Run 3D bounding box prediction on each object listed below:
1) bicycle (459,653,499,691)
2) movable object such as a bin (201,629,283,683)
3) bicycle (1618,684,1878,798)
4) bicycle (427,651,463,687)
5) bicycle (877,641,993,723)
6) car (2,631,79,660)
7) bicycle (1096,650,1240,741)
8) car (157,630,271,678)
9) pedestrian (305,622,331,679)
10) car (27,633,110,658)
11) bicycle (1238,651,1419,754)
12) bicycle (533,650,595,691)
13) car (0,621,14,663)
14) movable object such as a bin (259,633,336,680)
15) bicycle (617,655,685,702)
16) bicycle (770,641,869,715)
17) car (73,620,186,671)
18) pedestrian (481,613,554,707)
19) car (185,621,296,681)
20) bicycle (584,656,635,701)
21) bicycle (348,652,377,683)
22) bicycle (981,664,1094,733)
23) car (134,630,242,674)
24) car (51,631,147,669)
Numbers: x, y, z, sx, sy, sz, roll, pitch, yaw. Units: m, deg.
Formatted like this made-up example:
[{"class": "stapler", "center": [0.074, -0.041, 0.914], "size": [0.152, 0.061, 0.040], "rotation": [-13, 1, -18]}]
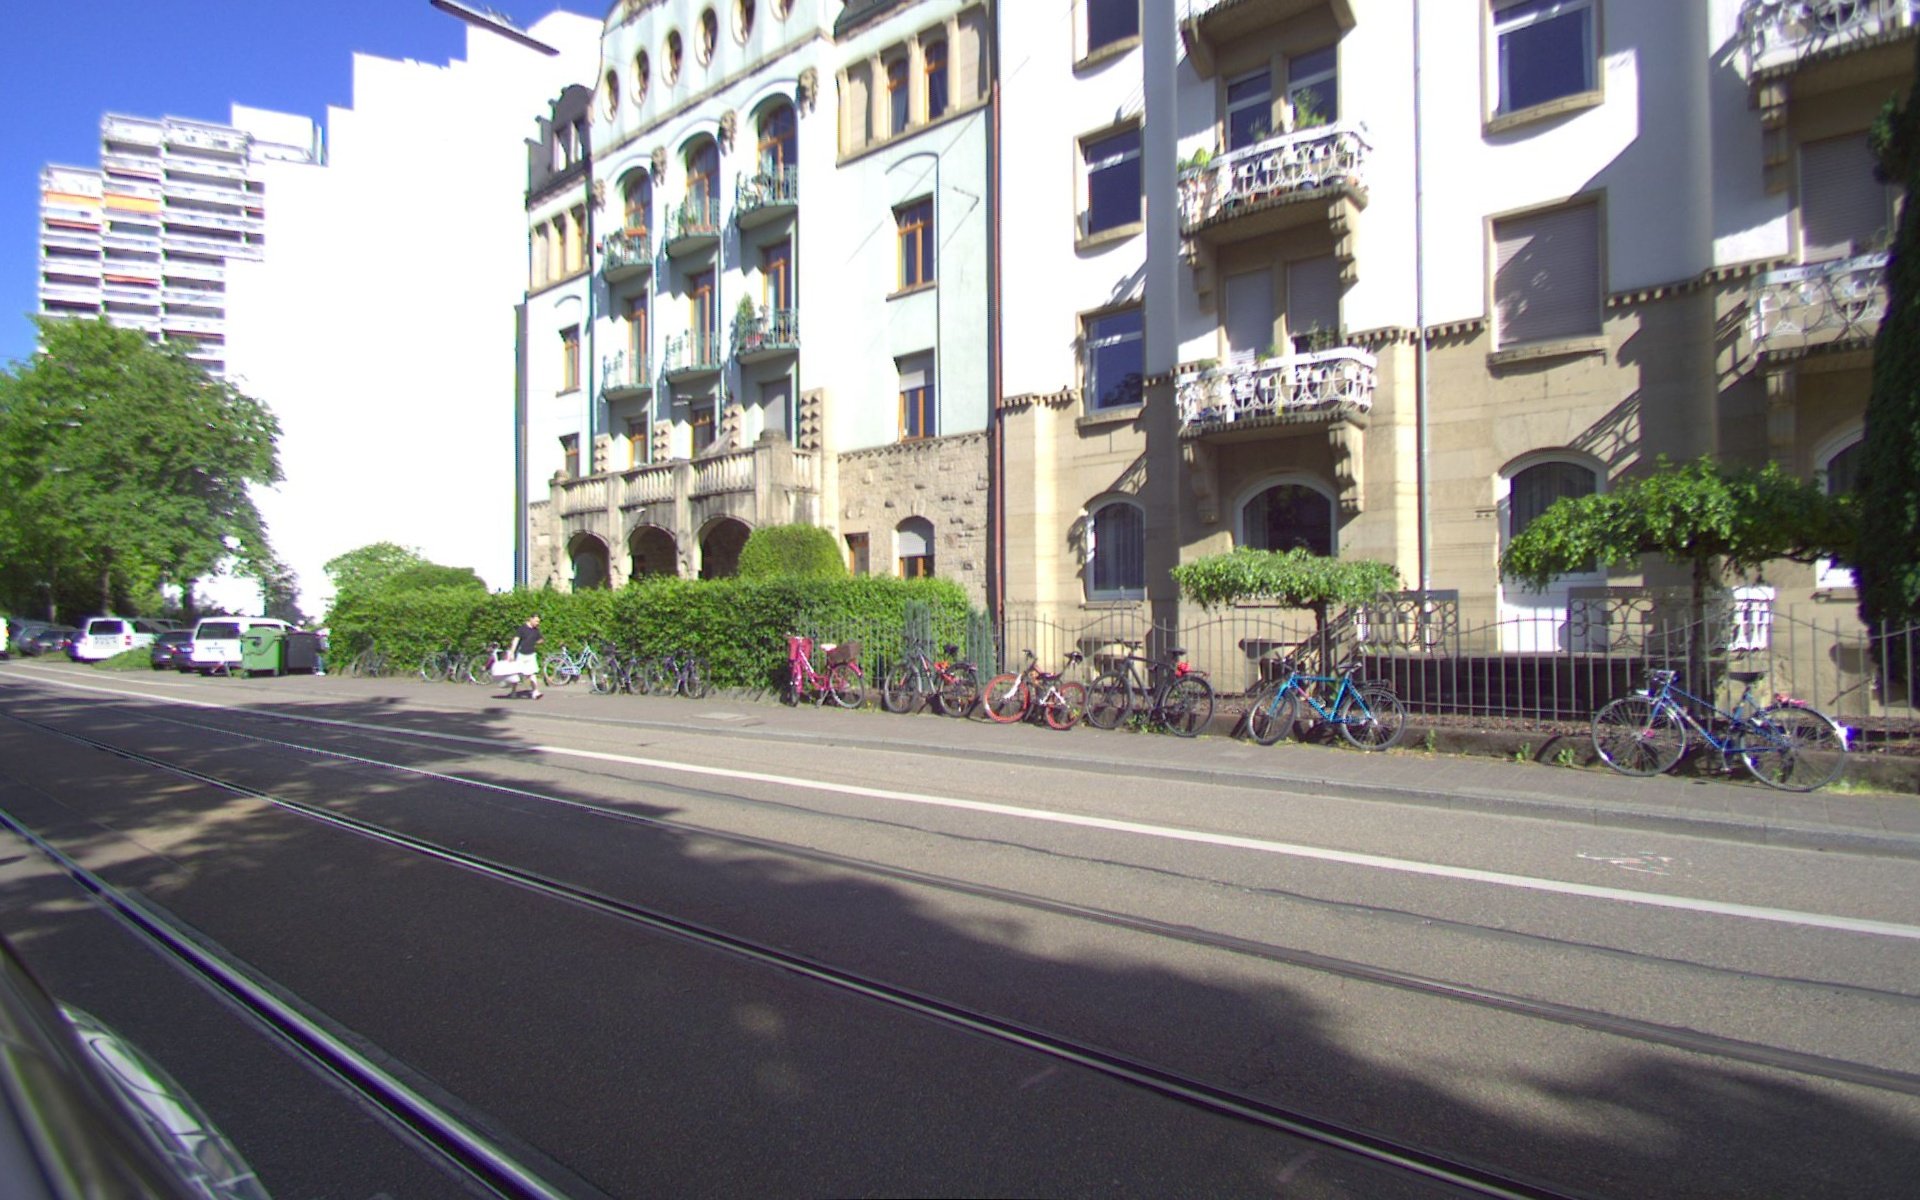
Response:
[{"class": "bicycle", "center": [-10.614, 1.582, 22.326], "size": [1.263, 0.767, 0.314], "rotation": [-1, 0, 41]}, {"class": "movable object such as a bin", "center": [-20.819, 1.589, 29.340], "size": [2.095, 1.443, 1.493], "rotation": [-1, 0, 41]}, {"class": "bicycle", "center": [6.408, 1.119, 8.308], "size": [1.651, 0.767, 0.314], "rotation": [-1, 0, 41]}, {"class": "bicycle", "center": [-11.959, 1.600, 23.508], "size": [1.263, 0.767, 0.293], "rotation": [-1, 0, 41]}, {"class": "bicycle", "center": [-0.370, 1.113, 14.067], "size": [1.815, 1.031, 0.400], "rotation": [-1, 0, 41]}, {"class": "car", "center": [-48.455, 2.378, 53.379], "size": [1.220, 1.436, 2.734], "rotation": [-1, 0, 24]}, {"class": "bicycle", "center": [2.395, 1.079, 11.785], "size": [1.648, 0.949, 0.400], "rotation": [-1, 0, 41]}, {"class": "car", "center": [-25.136, 1.797, 34.165], "size": [1.451, 1.446, 2.734], "rotation": [-1, 0, 24]}, {"class": "pedestrian", "center": [-18.920, 1.482, 29.809], "size": [0.659, 1.641, 0.469], "rotation": [-1, 0, 41]}, {"class": "car", "center": [-42.932, 2.179, 48.771], "size": [1.220, 1.097, 2.734], "rotation": [-1, 0, 24]}, {"class": "bicycle", "center": [3.826, 1.038, 10.607], "size": [1.748, 0.949, 0.400], "rotation": [-1, 0, 41]}, {"class": "bicycle", "center": [-8.578, 1.520, 21.946], "size": [0.297, 0.799, 1.246], "rotation": [-1, 0, 41]}, {"class": "car", "center": [-46.207, 1.968, 47.737], "size": [1.968, 1.918, 4.007], "rotation": [-1, 0, -39]}, {"class": "movable object such as a bin", "center": [-20.466, 1.717, 31.264], "size": [2.095, 1.326, 1.482], "rotation": [-1, 0, 41]}, {"class": "bicycle", "center": [-5.585, 1.398, 18.243], "size": [1.581, 0.767, 0.400], "rotation": [-1, 0, 41]}, {"class": "bicycle", "center": [-2.166, 1.160, 15.443], "size": [1.815, 1.031, 0.400], "rotation": [-1, 0, 41]}, {"class": "car", "center": [-33.303, 1.794, 40.697], "size": [1.894, 1.885, 3.447], "rotation": [-1, 0, -4]}, {"class": "pedestrian", "center": [-8.307, 1.094, 19.005], "size": [0.870, 1.640, 0.858], "rotation": [-1, 4, 41]}, {"class": "car", "center": [-22.834, 1.633, 32.234], "size": [1.438, 1.787, 3.189], "rotation": [-1, -3, -5]}, {"class": "bicycle", "center": [-6.678, 1.483, 19.277], "size": [1.263, 0.767, 0.335], "rotation": [-1, 0, 41]}, {"class": "bicycle", "center": [-15.648, 1.760, 26.496], "size": [1.263, 0.767, 0.293], "rotation": [-1, 0, 41]}, {"class": "bicycle", "center": [0.965, 1.226, 12.860], "size": [1.542, 0.767, 0.314], "rotation": [-1, 0, 41]}, {"class": "car", "center": [-27.693, 1.831, 36.354], "size": [1.451, 1.446, 2.734], "rotation": [-1, 0, 24]}, {"class": "car", "center": [-36.174, 2.084, 42.593], "size": [1.451, 1.446, 2.734], "rotation": [-1, 0, 24]}]
